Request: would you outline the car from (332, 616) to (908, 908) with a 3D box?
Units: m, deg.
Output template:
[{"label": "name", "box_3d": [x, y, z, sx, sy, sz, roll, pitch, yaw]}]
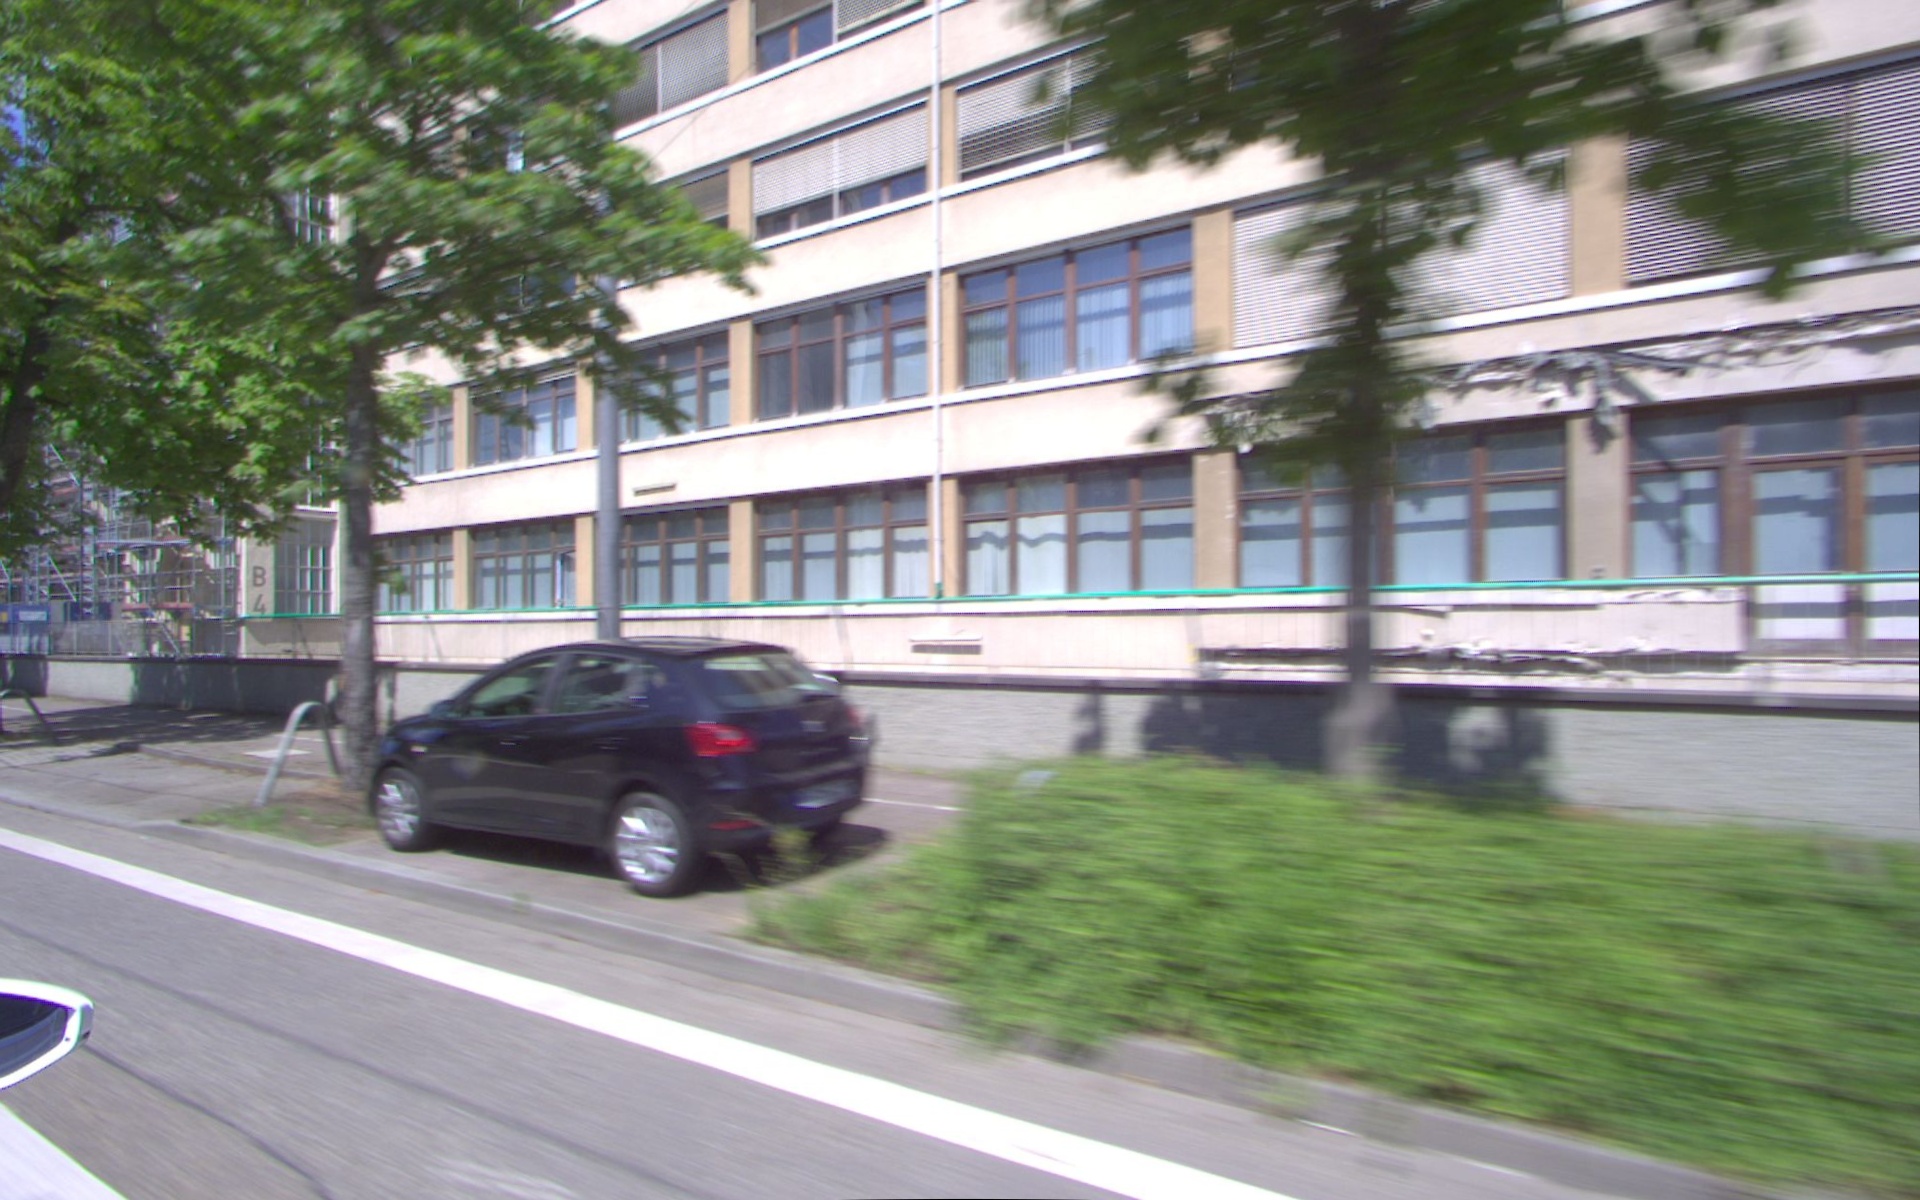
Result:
[{"label": "car", "box_3d": [-2.438, 0.885, 6.917, 3.923, 1.509, 1.669, -1, -1, 31]}]
